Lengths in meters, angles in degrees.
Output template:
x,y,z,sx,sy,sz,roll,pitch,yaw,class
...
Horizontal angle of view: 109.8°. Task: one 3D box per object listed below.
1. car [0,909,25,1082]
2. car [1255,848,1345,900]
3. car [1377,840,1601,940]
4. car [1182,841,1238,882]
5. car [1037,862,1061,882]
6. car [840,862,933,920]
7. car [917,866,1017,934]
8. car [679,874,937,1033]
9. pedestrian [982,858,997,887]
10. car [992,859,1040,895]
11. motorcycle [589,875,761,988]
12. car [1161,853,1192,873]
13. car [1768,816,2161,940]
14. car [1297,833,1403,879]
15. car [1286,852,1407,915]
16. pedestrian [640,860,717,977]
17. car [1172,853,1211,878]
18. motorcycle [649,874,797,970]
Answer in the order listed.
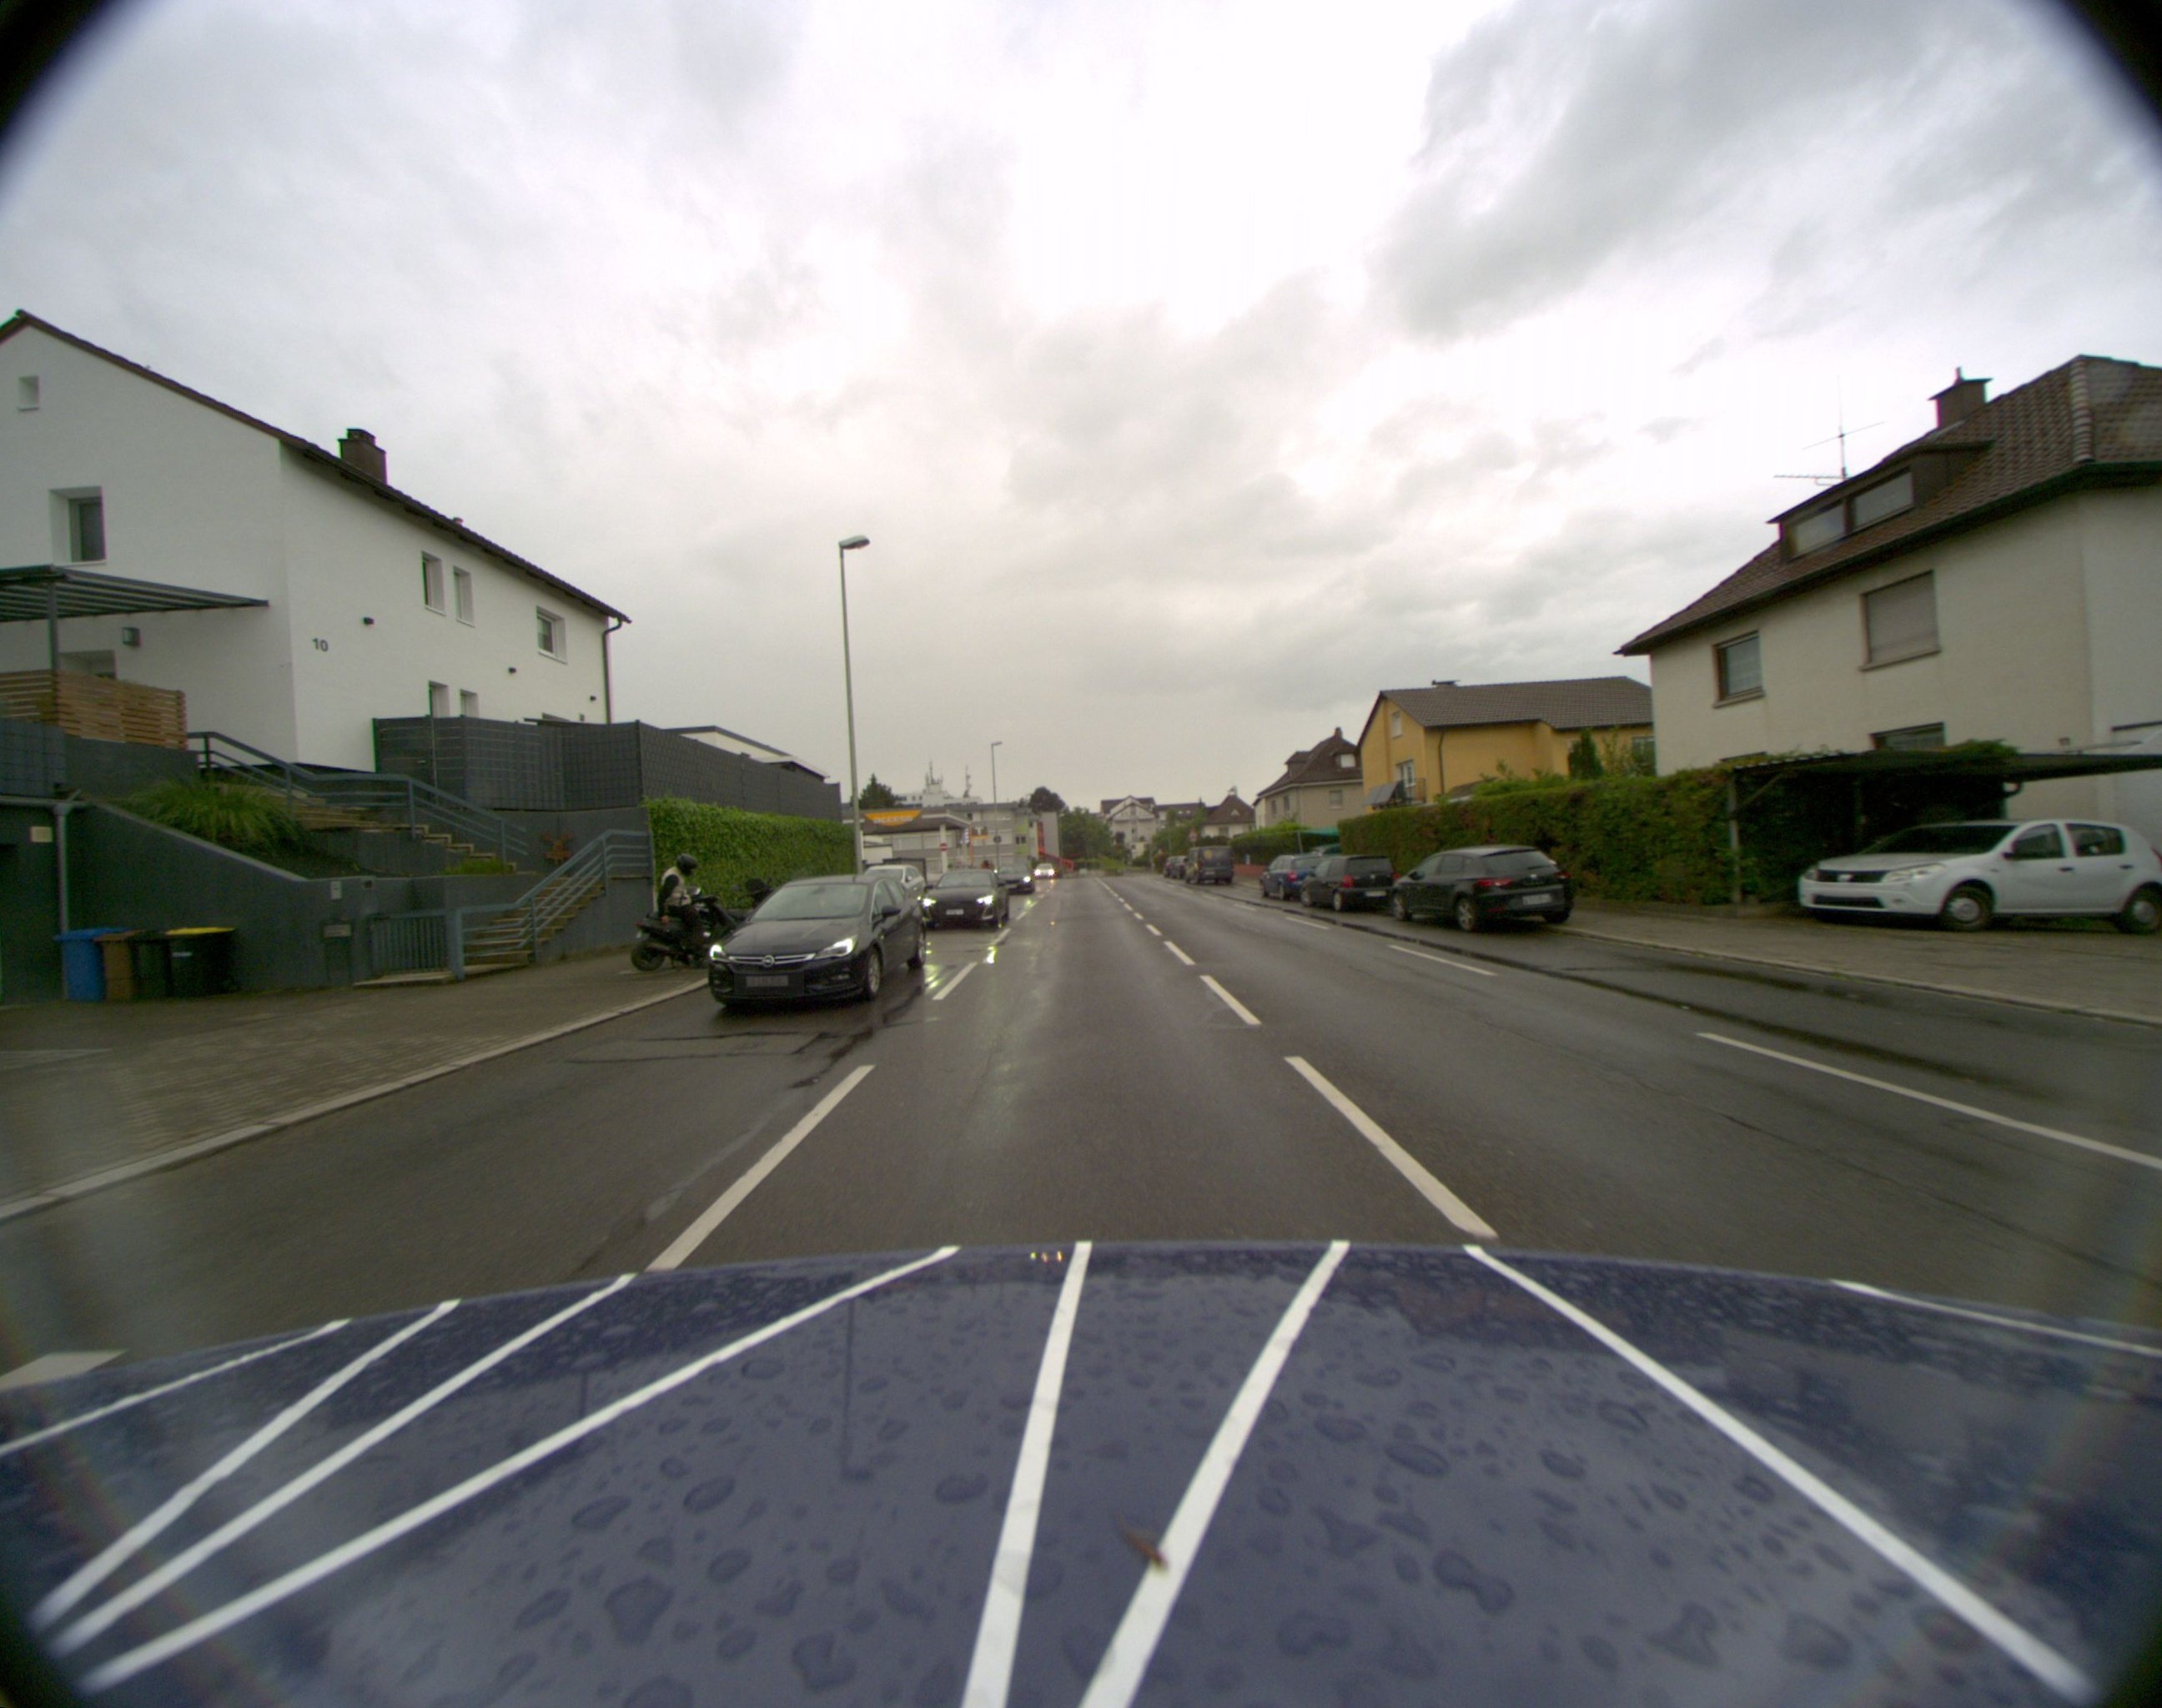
x,y,z,sx,sy,sz,roll,pitch,yaw,class
-10.933,1.238,5.435,3.997,1.425,1.869,-2,0,-1,car
7.262,0.616,25.617,1.761,1.524,4.286,-3,0,0,car
7.398,0.580,14.347,1.762,1.524,4.207,-3,0,-3,car
6.893,0.376,41.168,1.918,1.991,5.086,-3,0,-2,car
-3.034,1.712,73.092,1.998,1.647,4.000,-3,0,1,car
-6.028,1.088,24.112,1.704,1.501,4.534,-3,0,0,car
-2.884,1.111,20.257,1.871,1.416,4.739,-3,0,0,car
-3.215,1.091,9.887,1.760,1.441,4.000,-3,0,1,car
-5.455,1.104,45.363,0.586,1.646,0.610,-3,1,-29,pedestrian
-3.147,1.091,37.467,1.872,1.510,4.000,-3,0,1,car
-6.041,1.094,11.389,2.093,1.442,0.757,-3,1,-39,motorcycle
7.203,0.650,57.703,1.754,1.431,4.129,-3,0,0,car
12.274,0.324,10.508,3.999,1.507,1.855,1,0,-5,car
11.951,0.083,33.970,3.970,1.604,1.918,-6,0,1,car
6.929,0.714,20.258,1.555,1.423,4.013,-3,0,-4,car
-6.021,0.934,11.364,0.834,1.640,0.621,-3,1,-39,pedestrian
7.390,0.748,51.191,1.755,1.508,4.526,-3,0,-2,car
-6.086,1.105,13.011,2.093,1.442,0.820,-1,-1,-43,motorcycle
